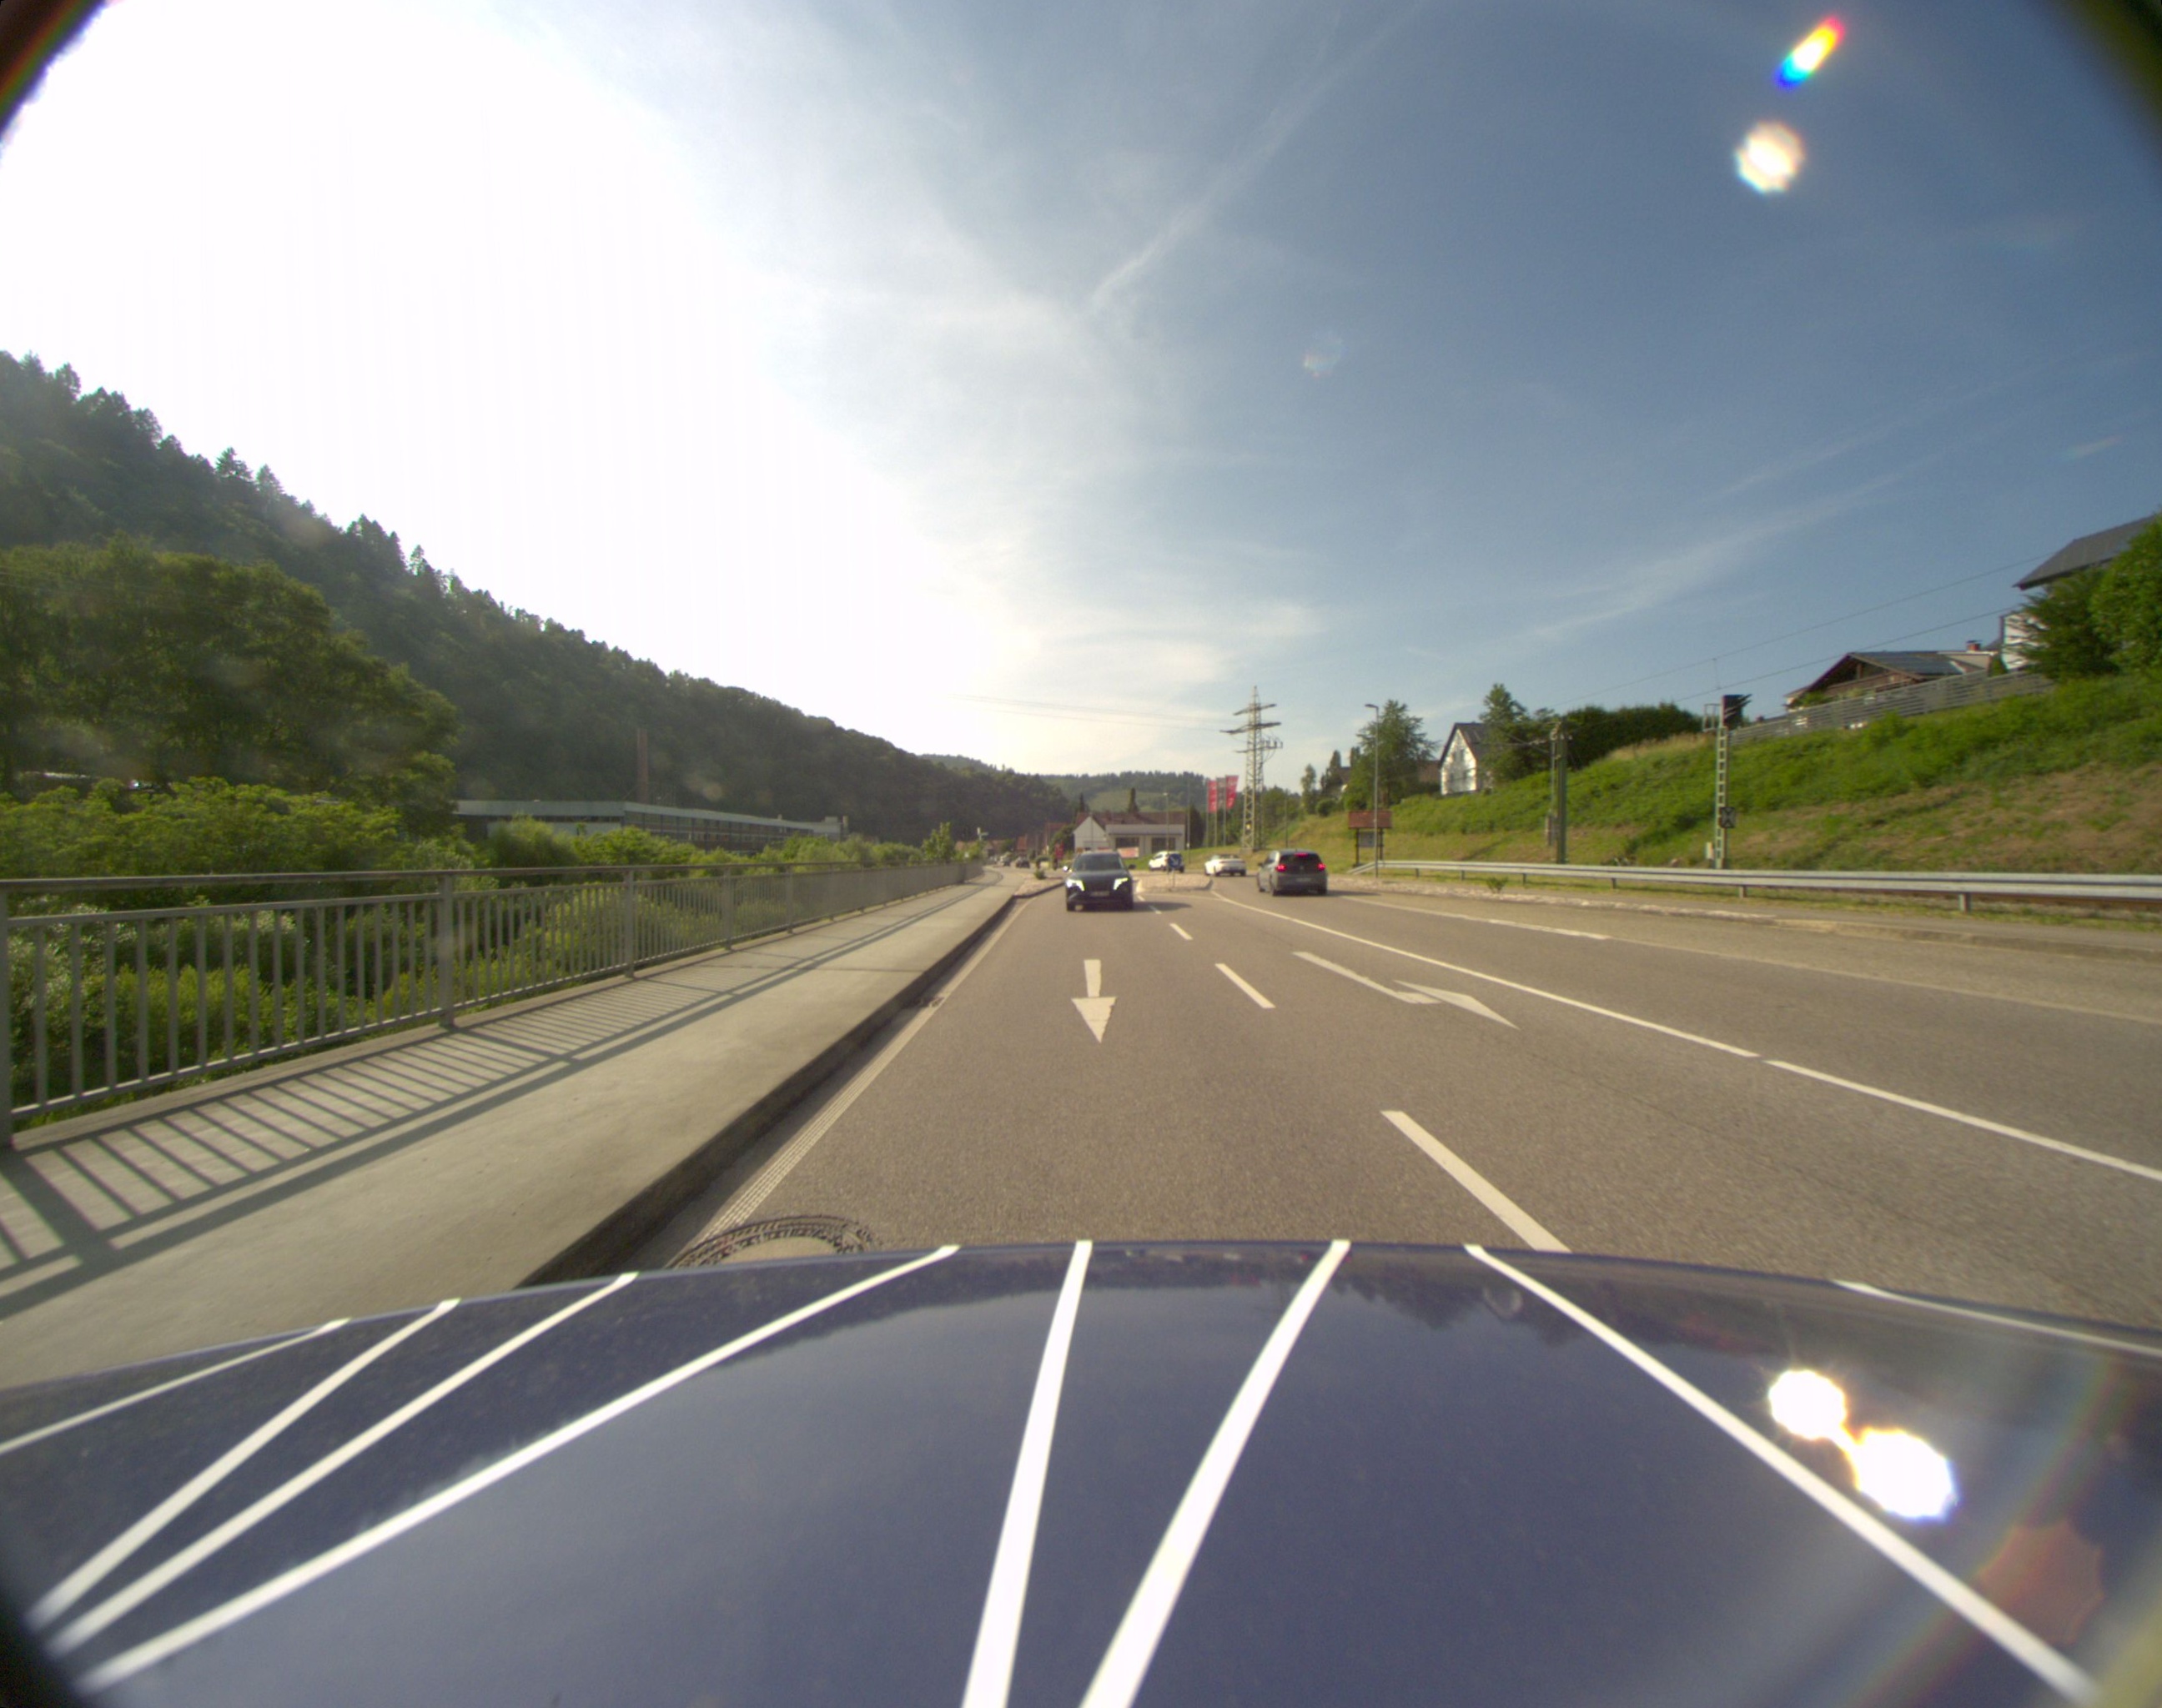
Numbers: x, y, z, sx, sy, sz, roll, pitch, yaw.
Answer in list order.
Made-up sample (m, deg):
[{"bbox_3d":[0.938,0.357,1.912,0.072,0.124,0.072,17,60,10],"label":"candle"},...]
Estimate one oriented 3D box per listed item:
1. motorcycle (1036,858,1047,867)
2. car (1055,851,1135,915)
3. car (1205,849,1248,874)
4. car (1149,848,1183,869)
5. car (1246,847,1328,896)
[{"bbox_3d":[-6.072,1.344,116.842,0.898,1.177,2.302,-7,1,-21],"label":"motorcycle"},{"bbox_3d":[0.315,0.771,22.058,1.650,1.639,3.997,-1,0,-8],"label":"car"},{"bbox_3d":[8.947,0.481,47.166,1.786,1.391,4.827,-2,-1,1],"label":"car"},{"bbox_3d":[6.630,0.320,59.512,1.769,1.551,3.997,-2,1,-7],"label":"car"},{"bbox_3d":[7.013,0.548,26.306,1.763,1.512,4.204,-2,0,1],"label":"car"}]
